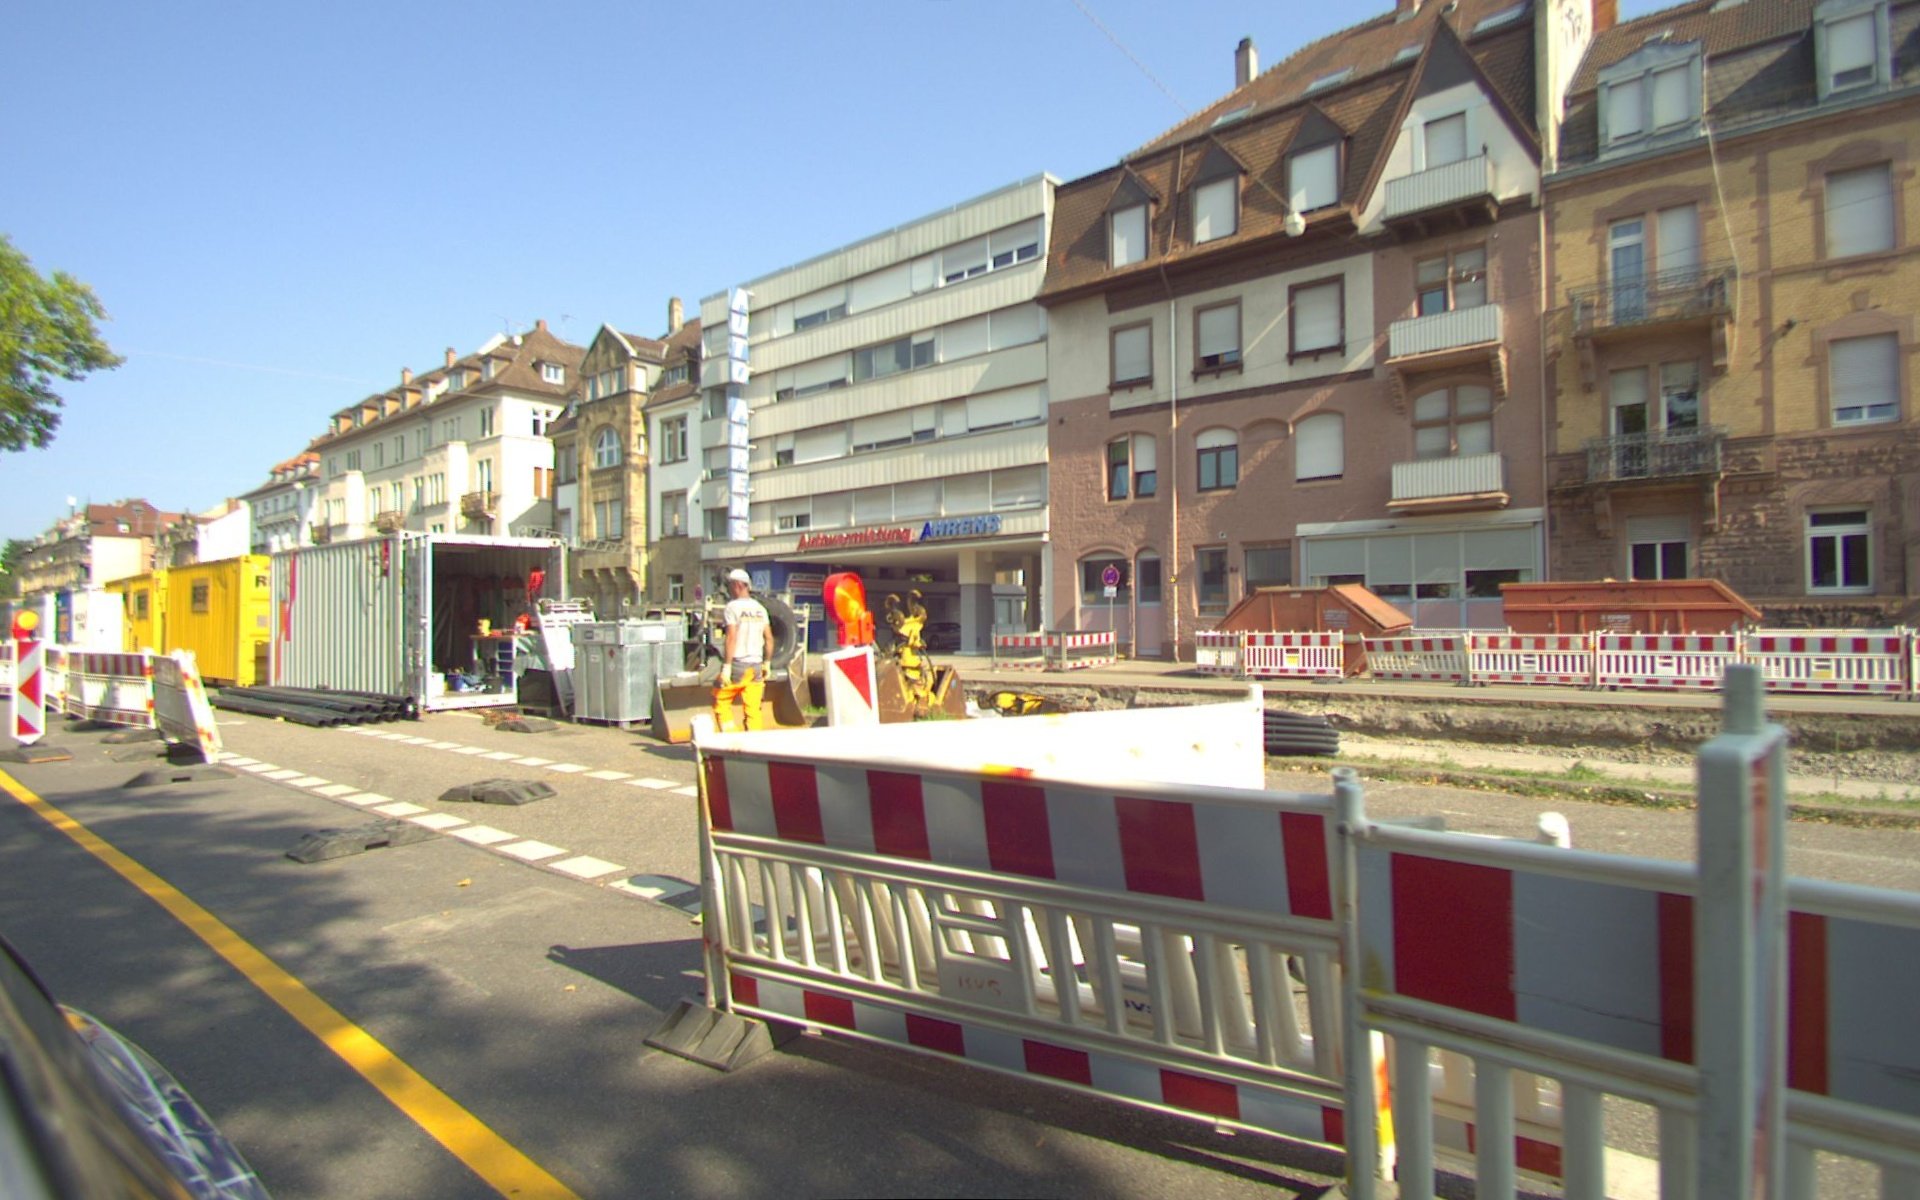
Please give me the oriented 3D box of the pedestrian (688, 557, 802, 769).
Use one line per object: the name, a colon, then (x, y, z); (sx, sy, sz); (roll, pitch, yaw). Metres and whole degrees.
pedestrian: (-1.929, 0.555, 9.128); (0.594, 1.811, 0.795); (-1, -3, 34)
